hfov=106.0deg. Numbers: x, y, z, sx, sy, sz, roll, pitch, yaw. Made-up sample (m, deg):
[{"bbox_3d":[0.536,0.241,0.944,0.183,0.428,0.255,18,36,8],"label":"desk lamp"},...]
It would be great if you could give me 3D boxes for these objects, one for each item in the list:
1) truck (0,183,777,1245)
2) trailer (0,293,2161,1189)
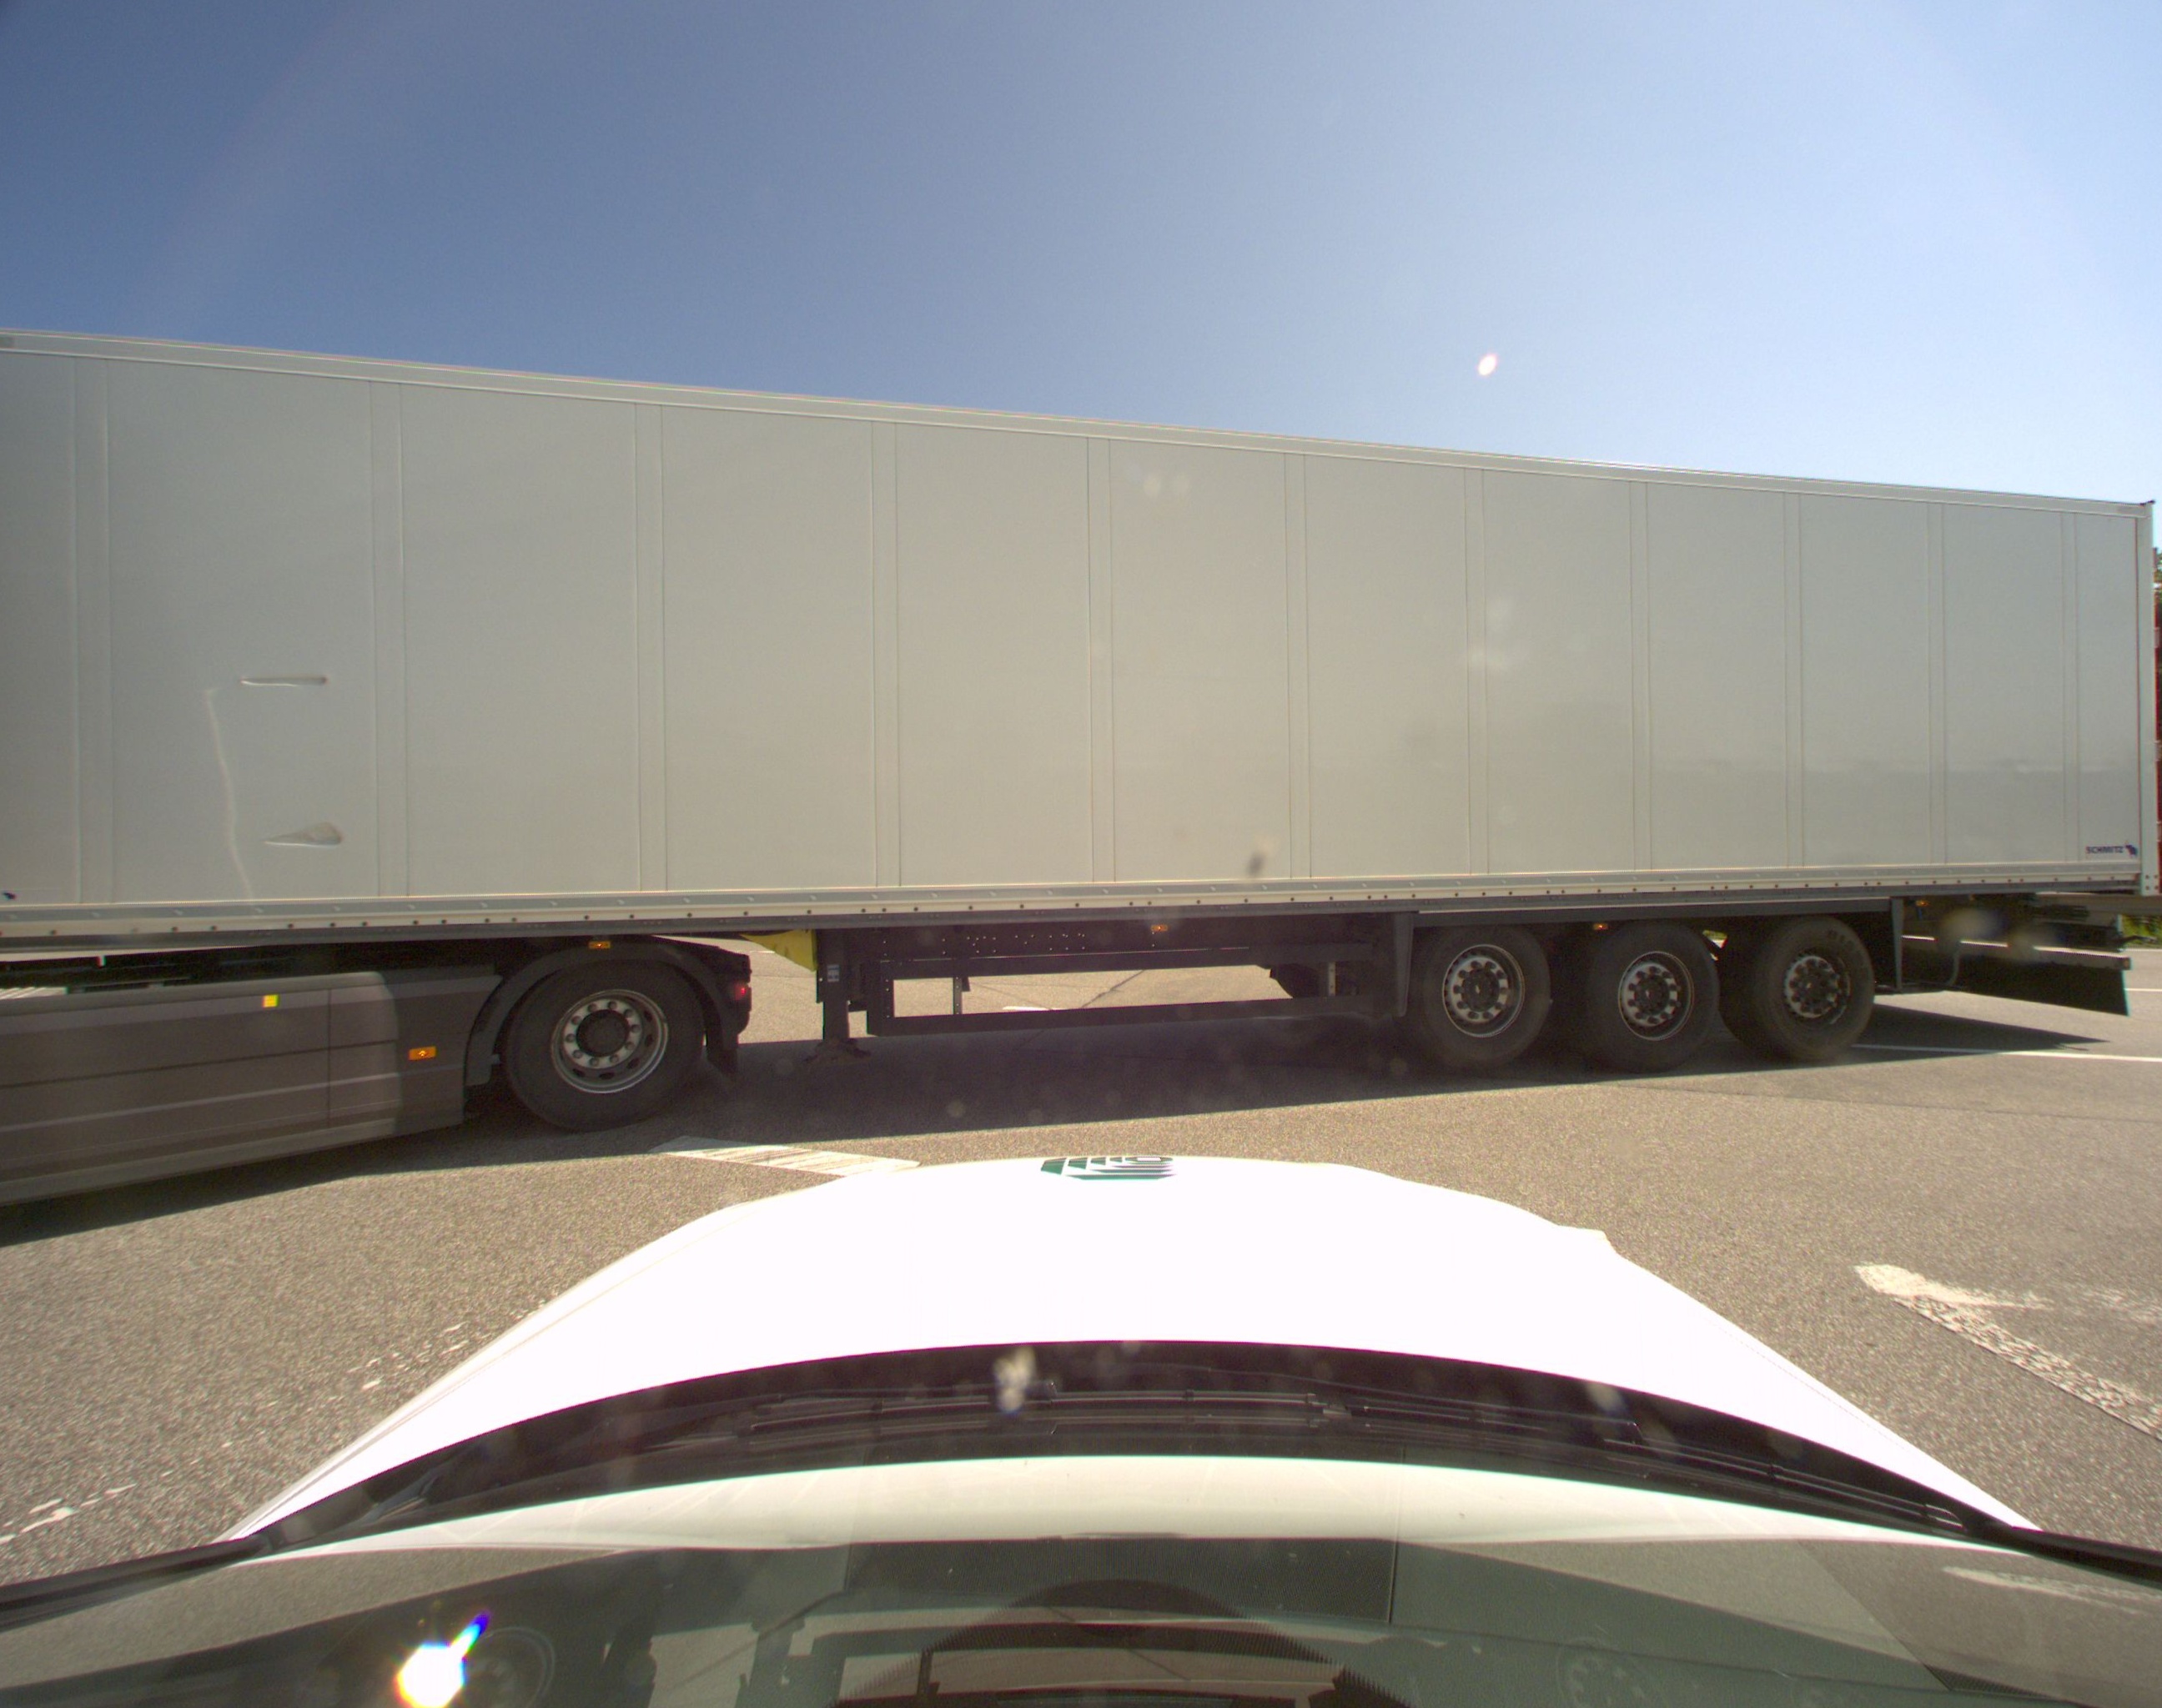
[{"bbox_3d":[-5.156,-0.544,4.282,6.001,4.173,2.846,-2,0,-40],"label":"truck"},{"bbox_3d":[1.148,-0.656,6.270,13.931,4.165,2.888,-1,0,-9],"label":"trailer"}]
